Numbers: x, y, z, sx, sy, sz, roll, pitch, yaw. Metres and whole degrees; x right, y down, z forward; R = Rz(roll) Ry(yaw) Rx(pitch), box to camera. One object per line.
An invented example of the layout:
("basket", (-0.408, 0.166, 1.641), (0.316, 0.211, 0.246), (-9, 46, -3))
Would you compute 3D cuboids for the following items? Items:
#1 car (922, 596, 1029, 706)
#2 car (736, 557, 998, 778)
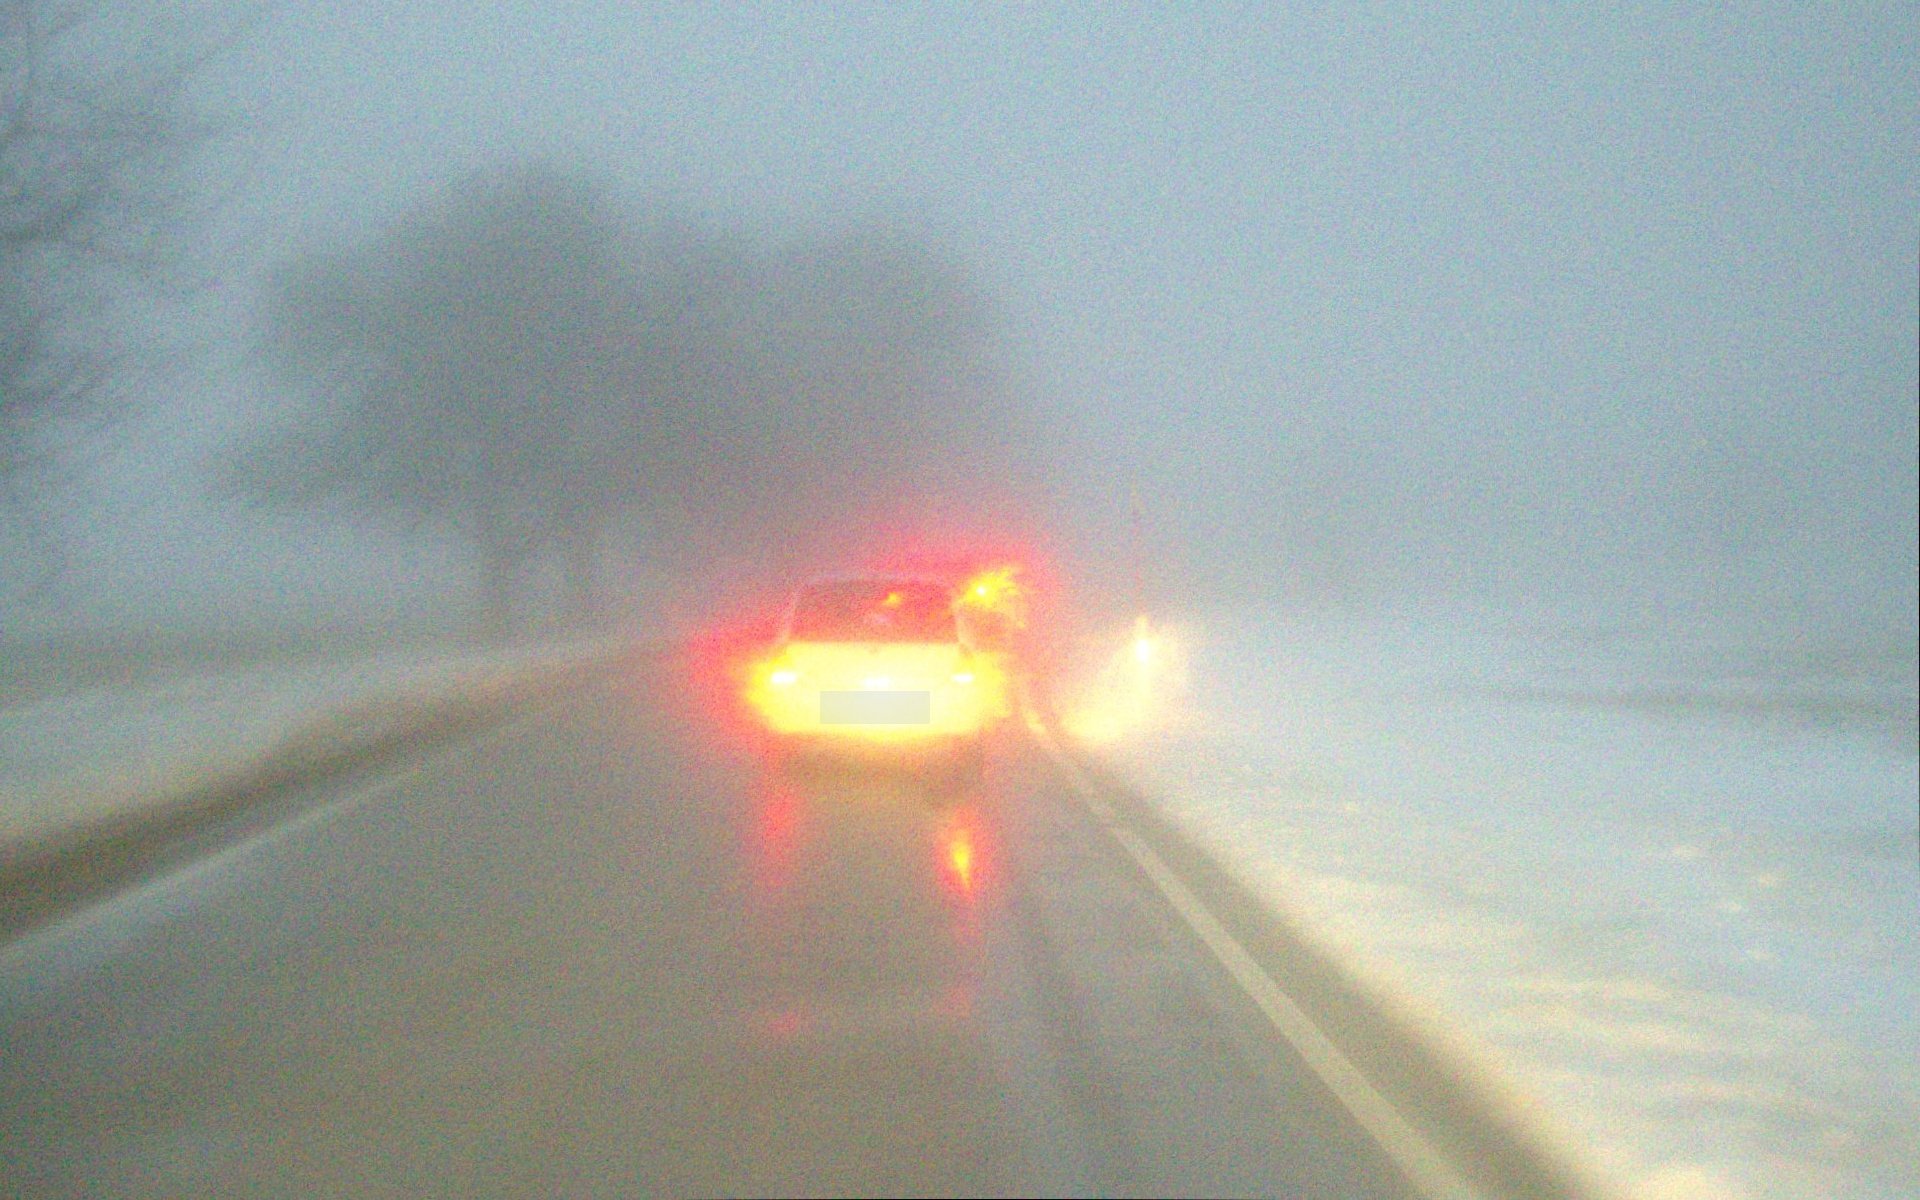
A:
("car", (0.239, 0.701, 49.049), (1.479, 1.503, 3.053), (0, 1, 1))
("car", (-0.622, 0.441, 25.680), (1.707, 1.458, 4.000), (2, 1, 1))
